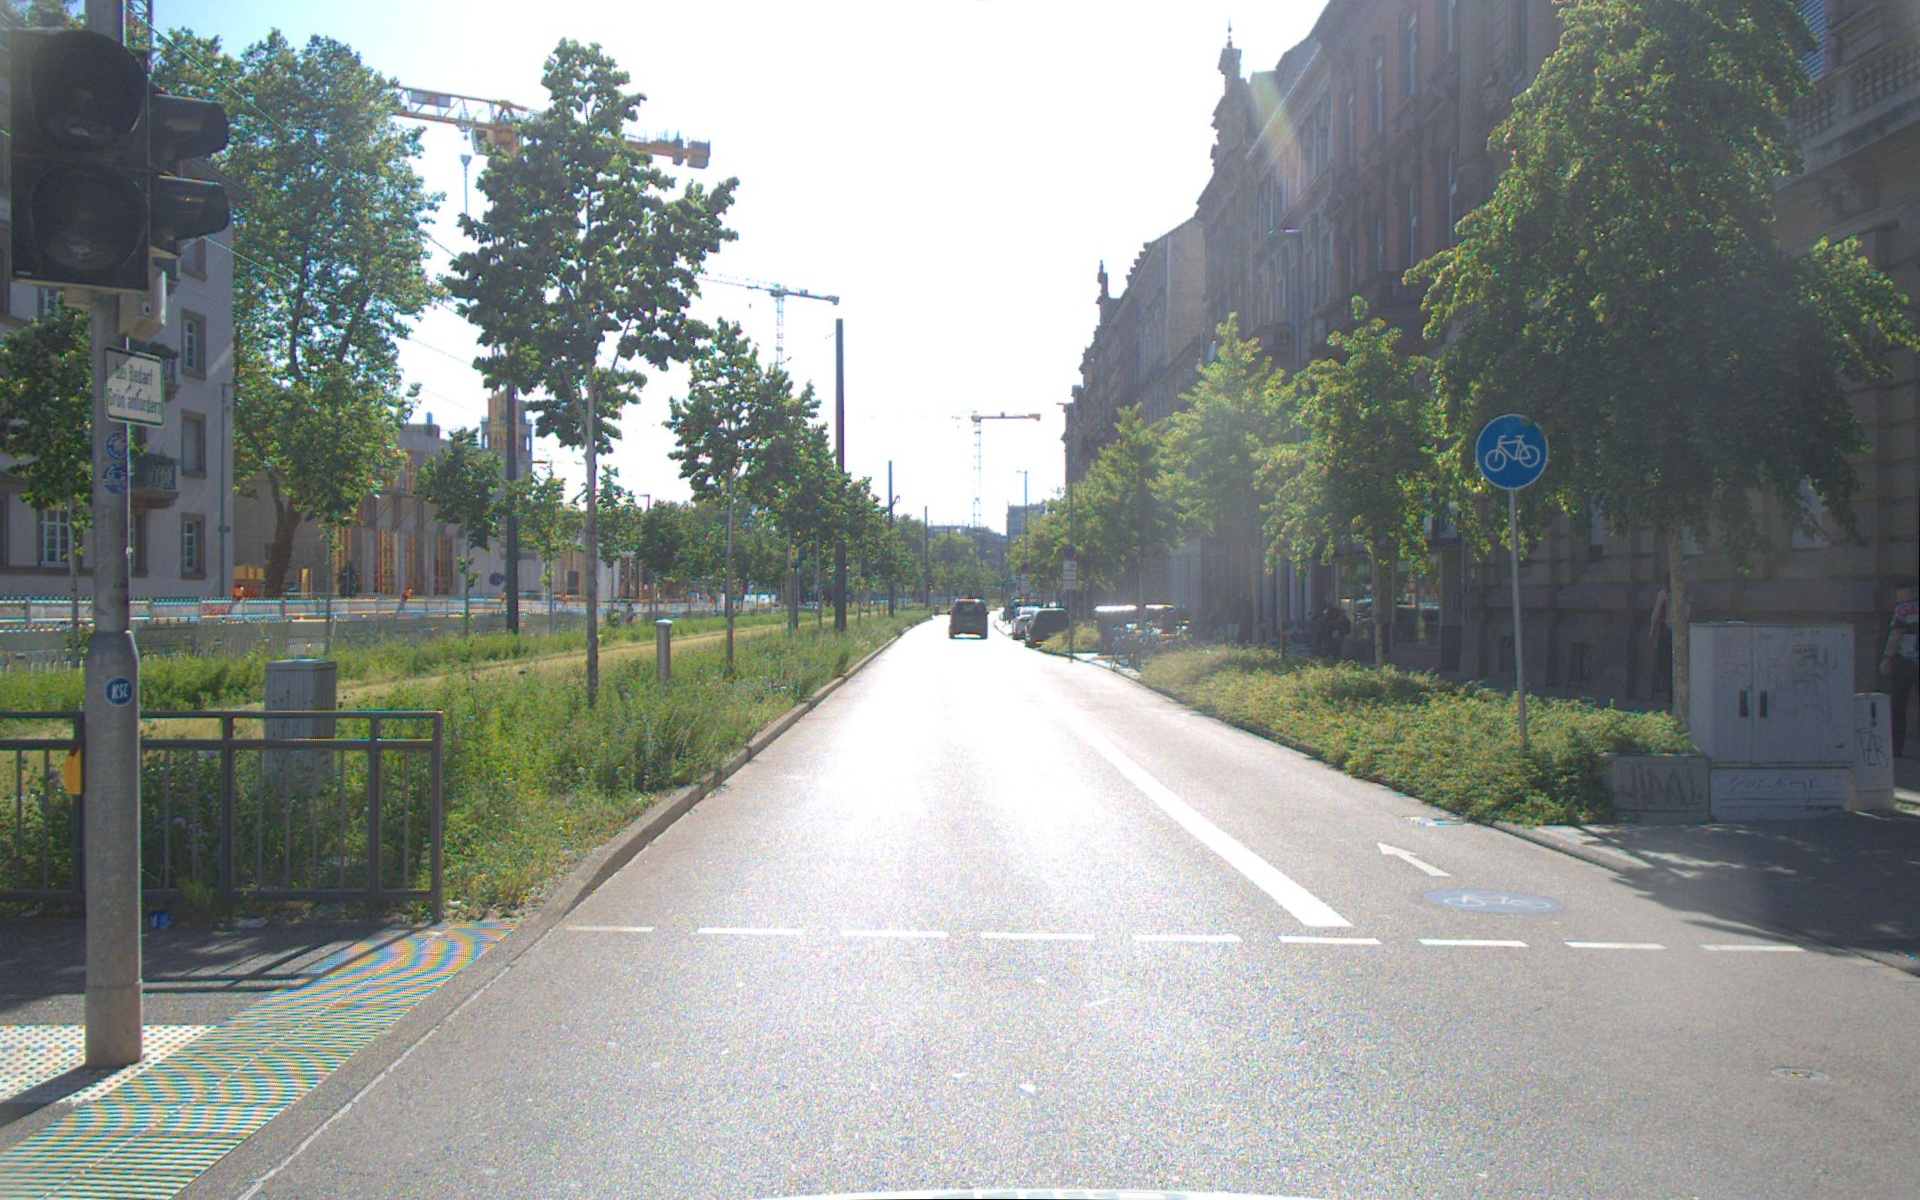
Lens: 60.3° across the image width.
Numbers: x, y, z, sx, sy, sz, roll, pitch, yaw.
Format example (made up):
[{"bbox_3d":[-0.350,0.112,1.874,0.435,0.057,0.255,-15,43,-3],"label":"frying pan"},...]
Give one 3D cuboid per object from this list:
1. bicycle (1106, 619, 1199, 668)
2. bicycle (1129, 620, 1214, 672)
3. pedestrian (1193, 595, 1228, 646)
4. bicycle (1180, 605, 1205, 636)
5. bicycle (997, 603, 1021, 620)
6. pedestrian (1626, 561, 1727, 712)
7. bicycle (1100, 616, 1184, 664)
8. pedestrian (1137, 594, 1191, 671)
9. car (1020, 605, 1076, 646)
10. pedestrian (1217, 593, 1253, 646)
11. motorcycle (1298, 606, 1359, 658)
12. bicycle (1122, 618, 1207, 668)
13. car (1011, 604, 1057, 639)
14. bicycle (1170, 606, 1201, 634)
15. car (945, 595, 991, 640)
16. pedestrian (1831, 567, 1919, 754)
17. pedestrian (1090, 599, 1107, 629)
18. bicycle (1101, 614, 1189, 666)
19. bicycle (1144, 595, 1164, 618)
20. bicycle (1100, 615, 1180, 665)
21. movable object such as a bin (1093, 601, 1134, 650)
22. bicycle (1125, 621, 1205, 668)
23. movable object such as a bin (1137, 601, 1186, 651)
[{"bbox_3d":[4.759,1.067,40.961,2.247,1.121,0.484,-2,0,-15],"label":"bicycle"},{"bbox_3d":[4.852,1.053,37.980,1.855,1.128,0.517,-2,-1,-6],"label":"bicycle"},{"bbox_3d":[8.132,0.664,53.766,0.931,1.594,1.080,-1,1,-1],"label":"pedestrian"},{"bbox_3d":[9.578,0.843,68.258,0.732,1.222,1.800,-1,-1,-1],"label":"bicycle"},{"bbox_3d":[4.023,0.951,135.986,1.843,1.255,0.499,-2,-1,-6],"label":"bicycle"},{"bbox_3d":[9.612,0.484,22.232,0.871,1.953,1.098,-2,-1,4],"label":"pedestrian"},{"bbox_3d":[4.656,1.019,42.388,2.004,1.126,0.610,-3,0,-7],"label":"bicycle"},{"bbox_3d":[4.883,0.774,39.587,0.833,1.766,0.899,-4,0,37],"label":"pedestrian"},{"bbox_3d":[3.471,1.019,65.905,1.730,1.502,4.445,-2,-1,-3],"label":"car"},{"bbox_3d":[8.907,0.612,53.597,0.951,1.668,0.992,-1,1,-1],"label":"pedestrian"},{"bbox_3d":[9.508,0.811,42.805,0.848,1.288,2.981,1,-1,-1],"label":"motorcycle"},{"bbox_3d":[4.917,1.027,39.798,1.938,1.128,0.435,-2,-1,-4],"label":"bicycle"},{"bbox_3d":[3.483,1.007,78.612,1.912,1.521,5.104,-2,0,0],"label":"car"},{"bbox_3d":[9.724,0.849,71.326,0.858,1.124,2.180,-3,0,-3],"label":"bicycle"},{"bbox_3d":[0.346,0.828,79.202,1.954,2.049,3.997,1,-1,-3],"label":"car"},{"bbox_3d":[9.166,0.554,15.904,0.949,1.722,1.114,-2,-1,1],"label":"pedestrian"},{"bbox_3d":[8.408,0.861,100.483,0.975,1.762,0.866,1,-1,-1],"label":"pedestrian"},{"bbox_3d":[4.618,0.989,41.304,2.110,1.174,0.428,-3,0,-15],"label":"bicycle"},{"bbox_3d":[9.686,0.300,82.463,0.706,1.109,2.198,-1,0,0],"label":"bicycle"},{"bbox_3d":[4.646,1.027,42.796,1.937,1.143,0.481,-4,1,-6],"label":"bicycle"},{"bbox_3d":[4.912,0.803,53.046,1.244,1.488,1.645,1,2,4],"label":"movable object such as a bin"},{"bbox_3d":[4.879,1.056,39.454,1.779,1.074,0.571,-2,-1,-7],"label":"bicycle"},{"bbox_3d":[6.474,0.844,53.244,1.345,1.521,1.749,-3,-1,0],"label":"movable object such as a bin"}]
